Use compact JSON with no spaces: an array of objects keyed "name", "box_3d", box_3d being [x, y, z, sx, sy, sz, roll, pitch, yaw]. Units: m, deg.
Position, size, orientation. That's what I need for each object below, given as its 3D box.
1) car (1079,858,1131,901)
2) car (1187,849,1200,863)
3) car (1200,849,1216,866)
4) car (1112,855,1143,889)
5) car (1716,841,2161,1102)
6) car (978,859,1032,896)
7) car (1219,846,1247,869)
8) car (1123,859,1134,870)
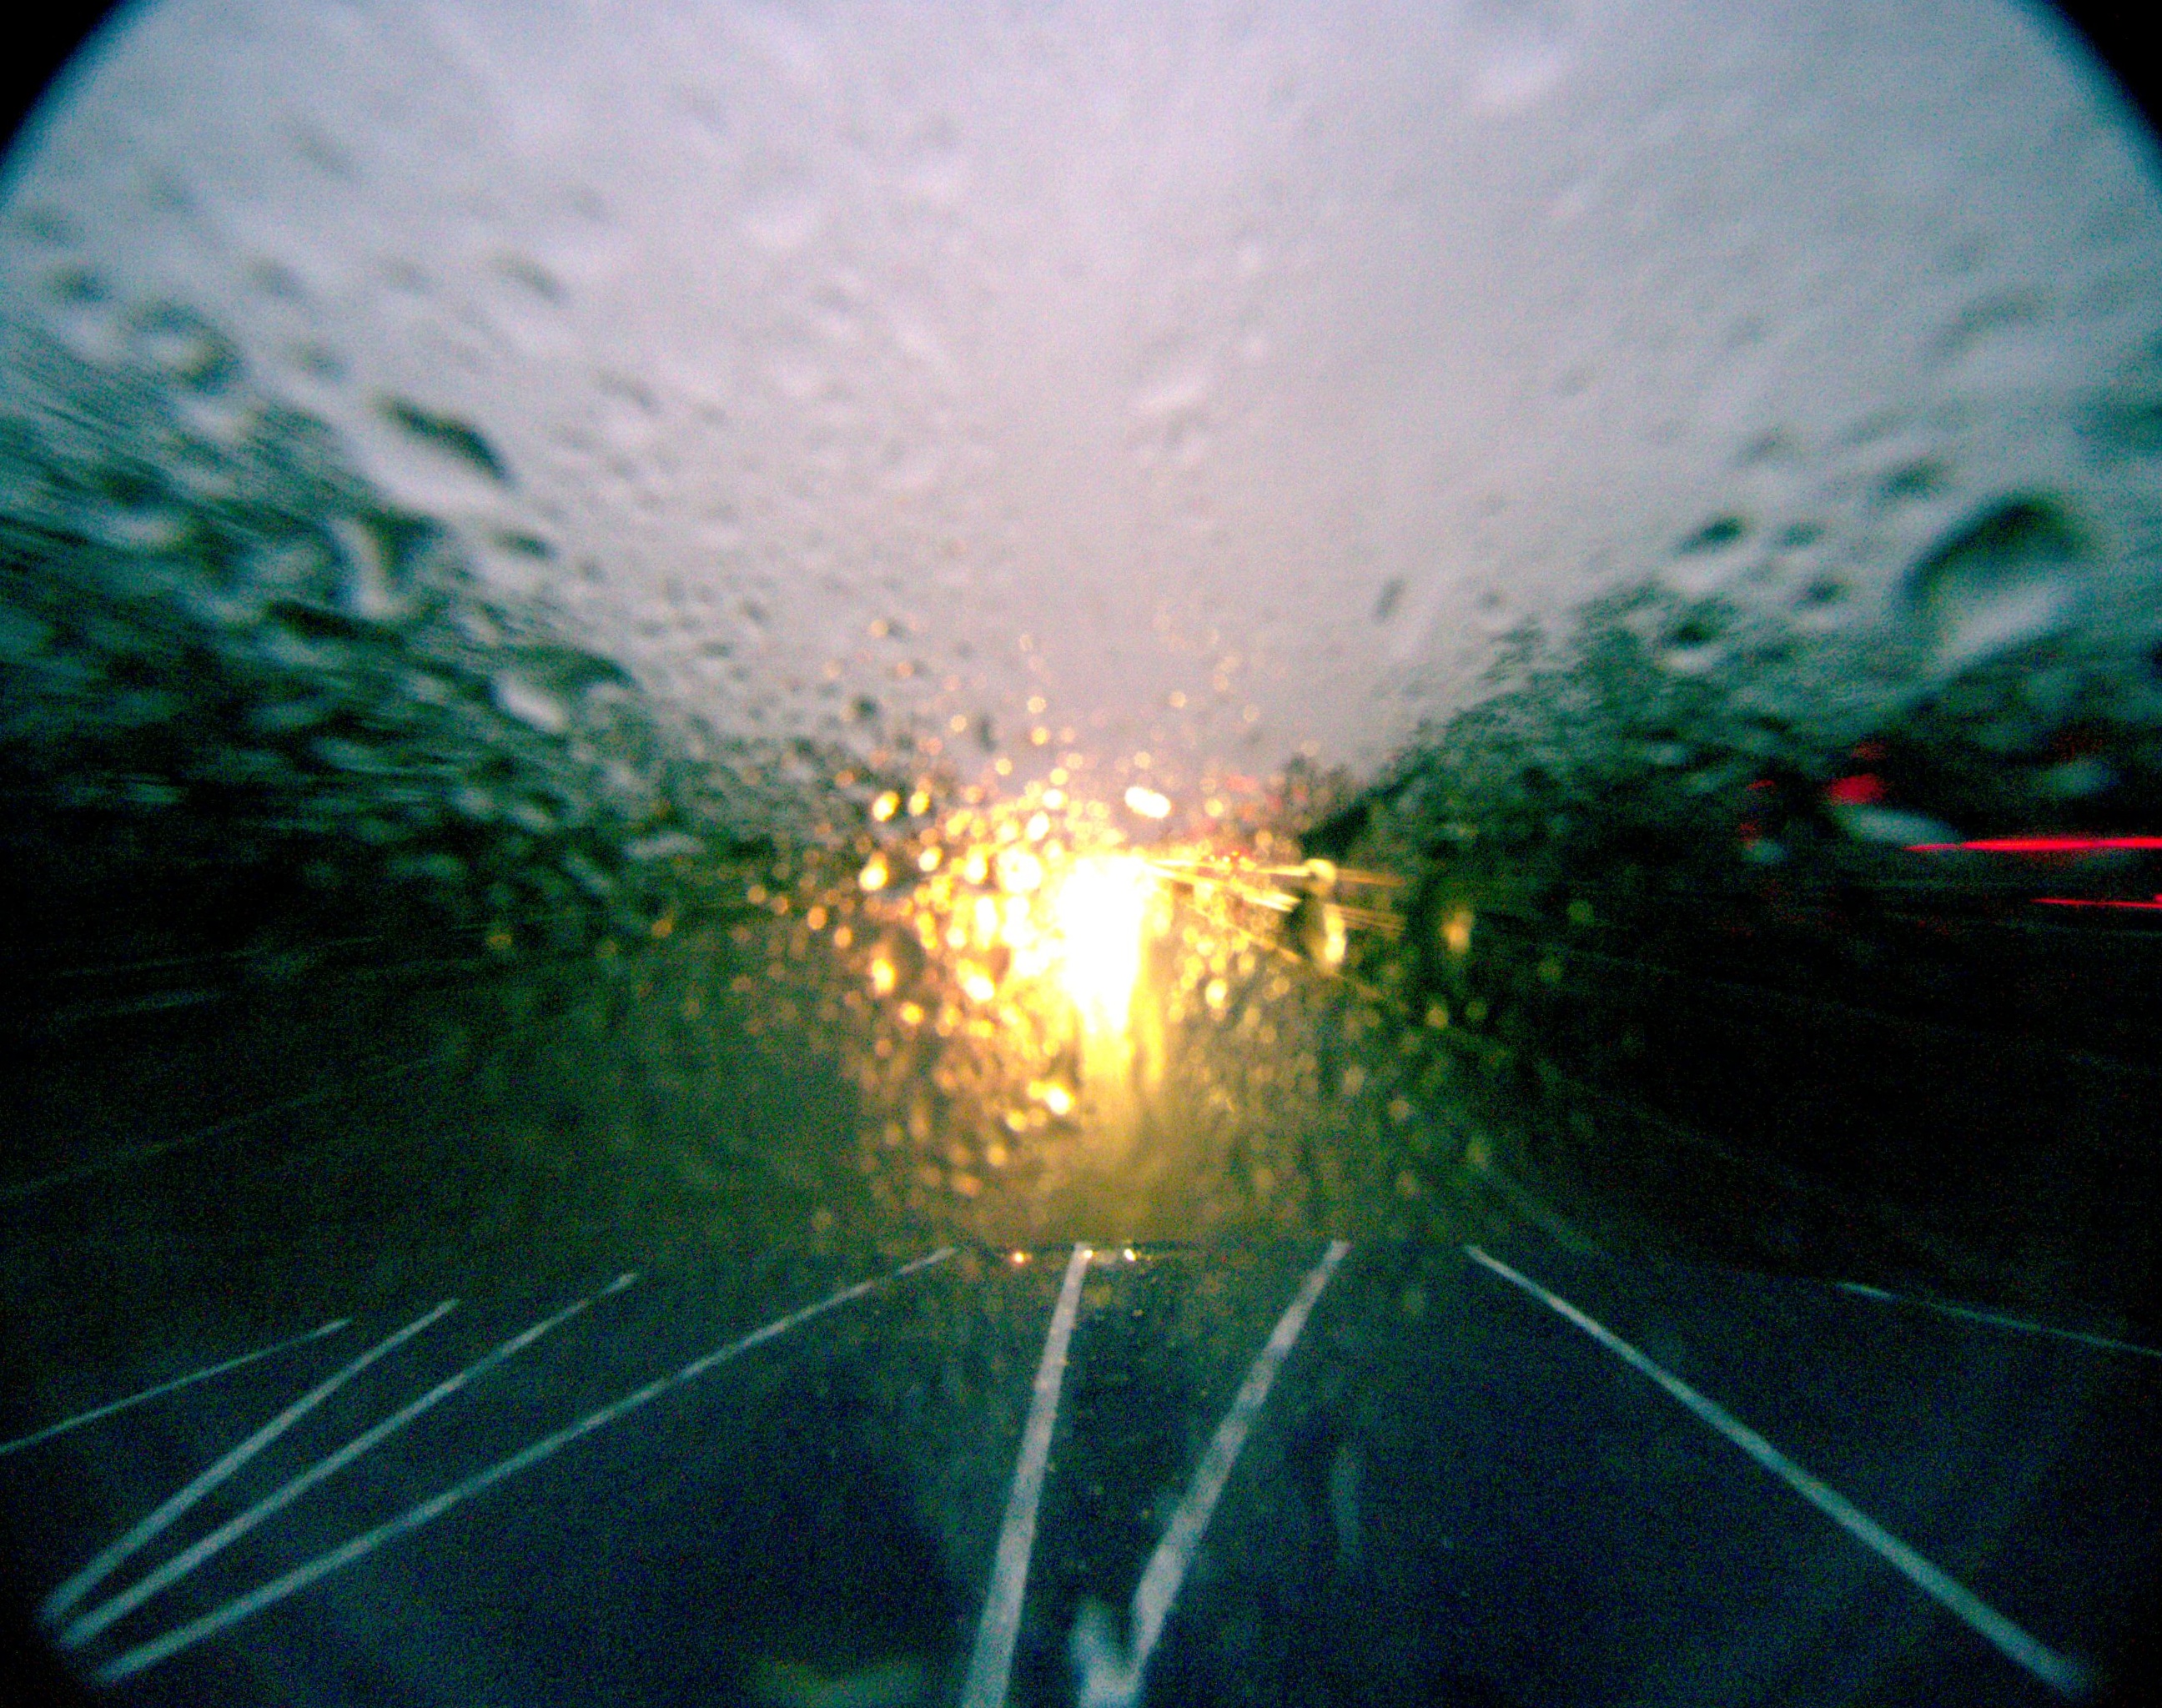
[{"name":"car","box_3d":[1.022,0.965,30.109,1.849,1.521,4.150,-2,0,5]},{"name":"car","box_3d":[19.961,0.292,135.126,1.849,2.422,5.418,-2,0,5]},{"name":"car","box_3d":[16.355,0.417,97.775,1.938,1.961,4.540,-2,1,10]},{"name":"car","box_3d":[3.139,1.176,51.983,1.795,2.002,3.724,-5,2,1]},{"name":"car","box_3d":[7.964,0.761,6.448,1.744,1.630,4.000,-4,0,0]},{"name":"car","box_3d":[-3.459,1.051,35.394,1.850,1.521,4.149,-2,0,3]},{"name":"car","box_3d":[13.177,0.280,66.070,1.749,1.823,4.135,0,1,3]},{"name":"car","box_3d":[8.034,1.731,128.459,1.647,1.729,3.533,-4,1,2]}]
